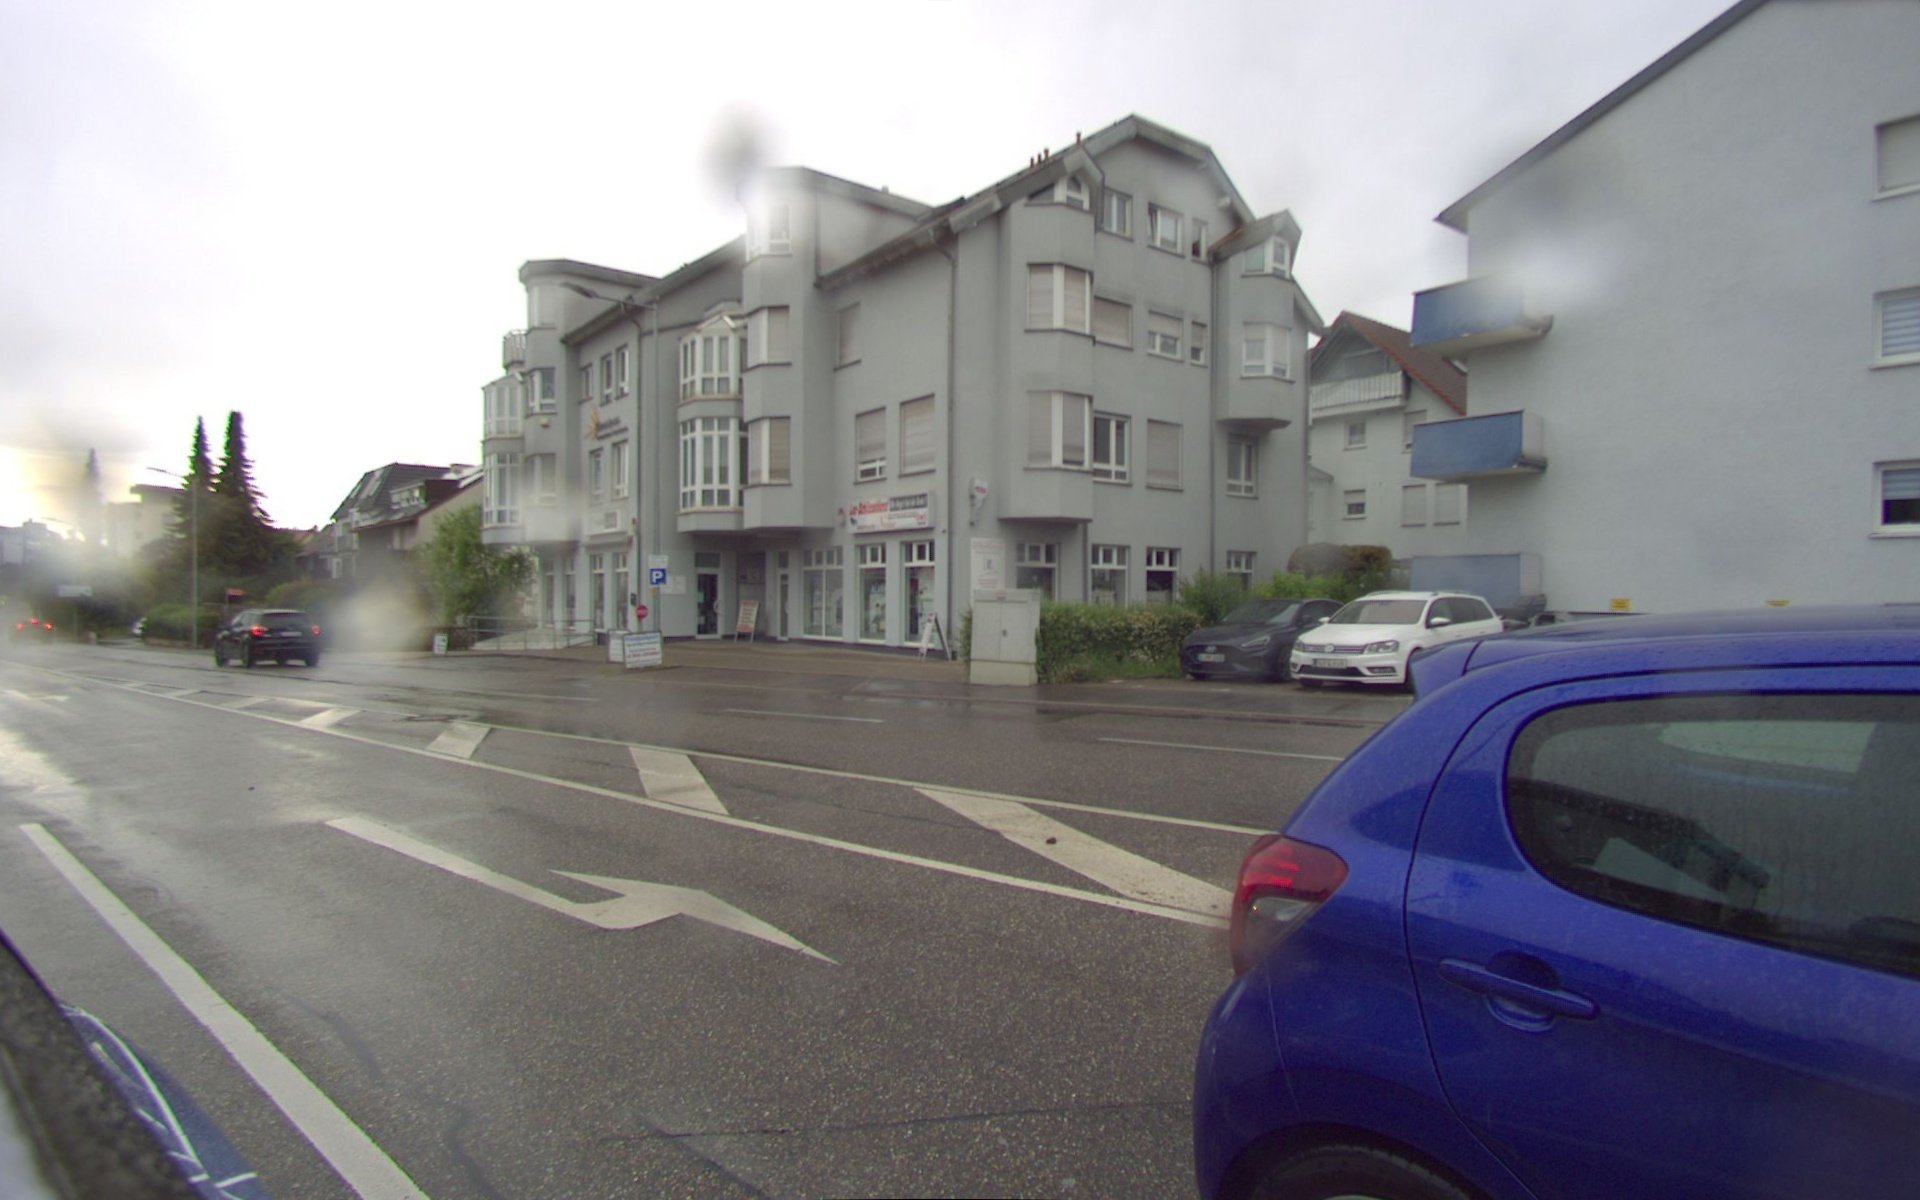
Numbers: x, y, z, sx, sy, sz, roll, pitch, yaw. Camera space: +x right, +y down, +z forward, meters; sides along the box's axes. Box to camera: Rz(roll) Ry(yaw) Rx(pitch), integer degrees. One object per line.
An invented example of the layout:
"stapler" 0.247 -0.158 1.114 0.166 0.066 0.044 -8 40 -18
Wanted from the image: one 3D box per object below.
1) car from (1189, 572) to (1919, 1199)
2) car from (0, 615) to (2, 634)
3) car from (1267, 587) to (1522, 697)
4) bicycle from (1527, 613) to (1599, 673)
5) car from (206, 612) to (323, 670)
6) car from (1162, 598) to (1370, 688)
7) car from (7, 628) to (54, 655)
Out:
"car" 2.166 0.656 1.252 3.362 1.423 1.489 -1 0 41
"car" -85.653 2.122 88.809 4.537 1.637 1.973 0 0 42
"car" 6.917 0.587 15.859 4.685 1.471 1.883 0 -1 -42
"bicycle" 11.079 0.781 18.614 1.065 1.061 0.343 -2 -1 41
"car" -20.647 1.166 29.988 4.182 1.609 1.859 -1 -1 41
"car" 5.429 0.660 17.705 1.851 1.366 3.941 0 0 45
"car" -58.885 2.618 64.097 4.000 1.523 1.945 0 0 43
